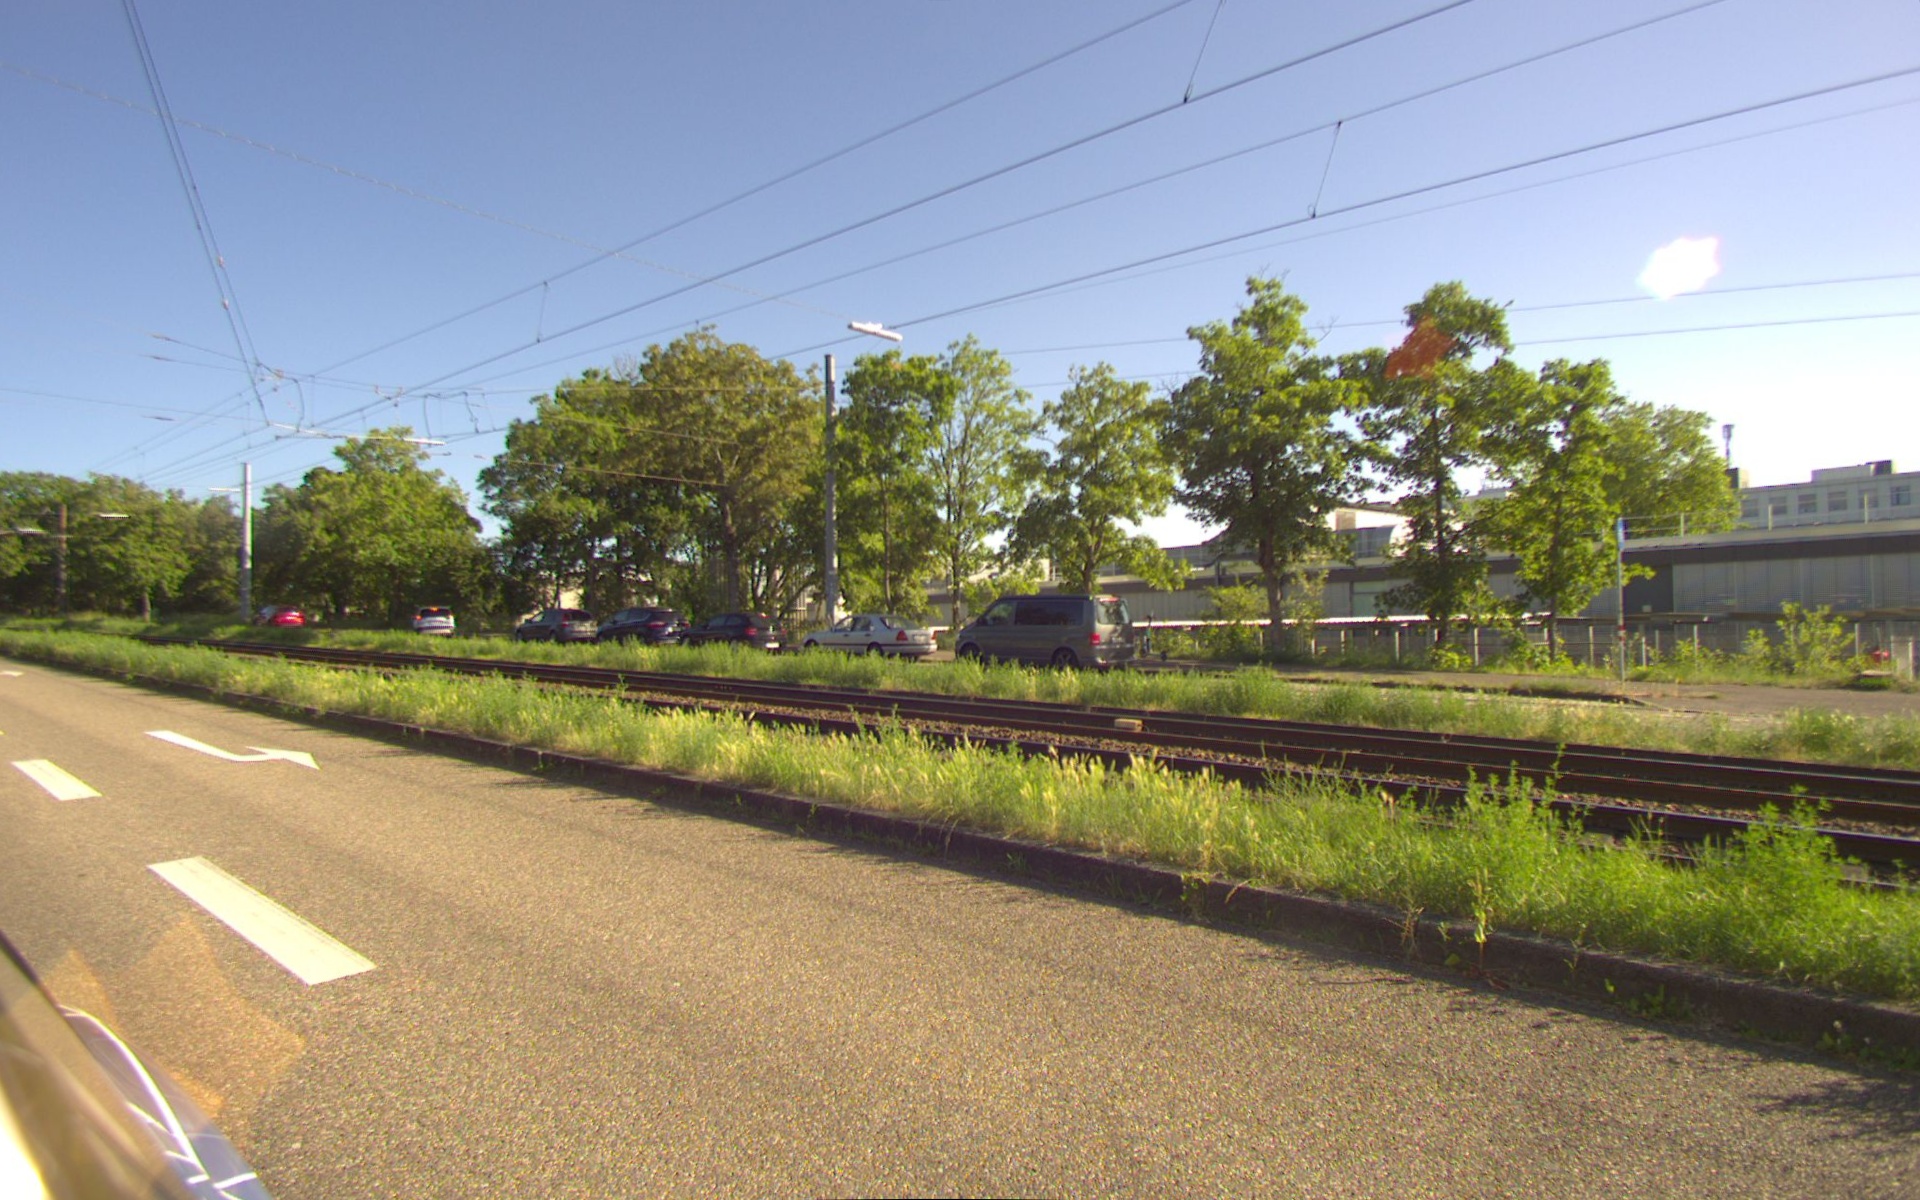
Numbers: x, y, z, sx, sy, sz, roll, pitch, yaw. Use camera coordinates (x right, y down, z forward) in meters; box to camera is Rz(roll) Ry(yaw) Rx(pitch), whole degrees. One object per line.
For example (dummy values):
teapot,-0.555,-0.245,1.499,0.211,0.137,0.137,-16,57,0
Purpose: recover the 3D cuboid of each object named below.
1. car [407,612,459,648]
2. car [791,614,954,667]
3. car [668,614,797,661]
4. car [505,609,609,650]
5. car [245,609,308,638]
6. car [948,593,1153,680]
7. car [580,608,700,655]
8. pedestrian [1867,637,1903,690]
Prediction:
car,-24.389,1.362,46.953,1.829,1.569,4.170,0,-1,-24
car,-2.619,1.147,29.567,4.612,1.391,2.103,-1,-1,40
car,-7.596,1.203,33.576,4.486,1.437,1.935,-1,-1,42
car,-16.618,1.194,41.609,4.557,1.575,2.103,-1,-1,41
car,-42.808,1.451,63.348,4.797,1.746,2.290,-1,-1,43
car,2.166,0.851,25.059,4.684,1.949,2.178,-1,-1,42
car,-11.789,1.121,37.130,4.614,1.599,2.102,-1,-1,41
pedestrian,23.174,1.576,25.351,0.435,1.310,0.441,-1,-2,-1
